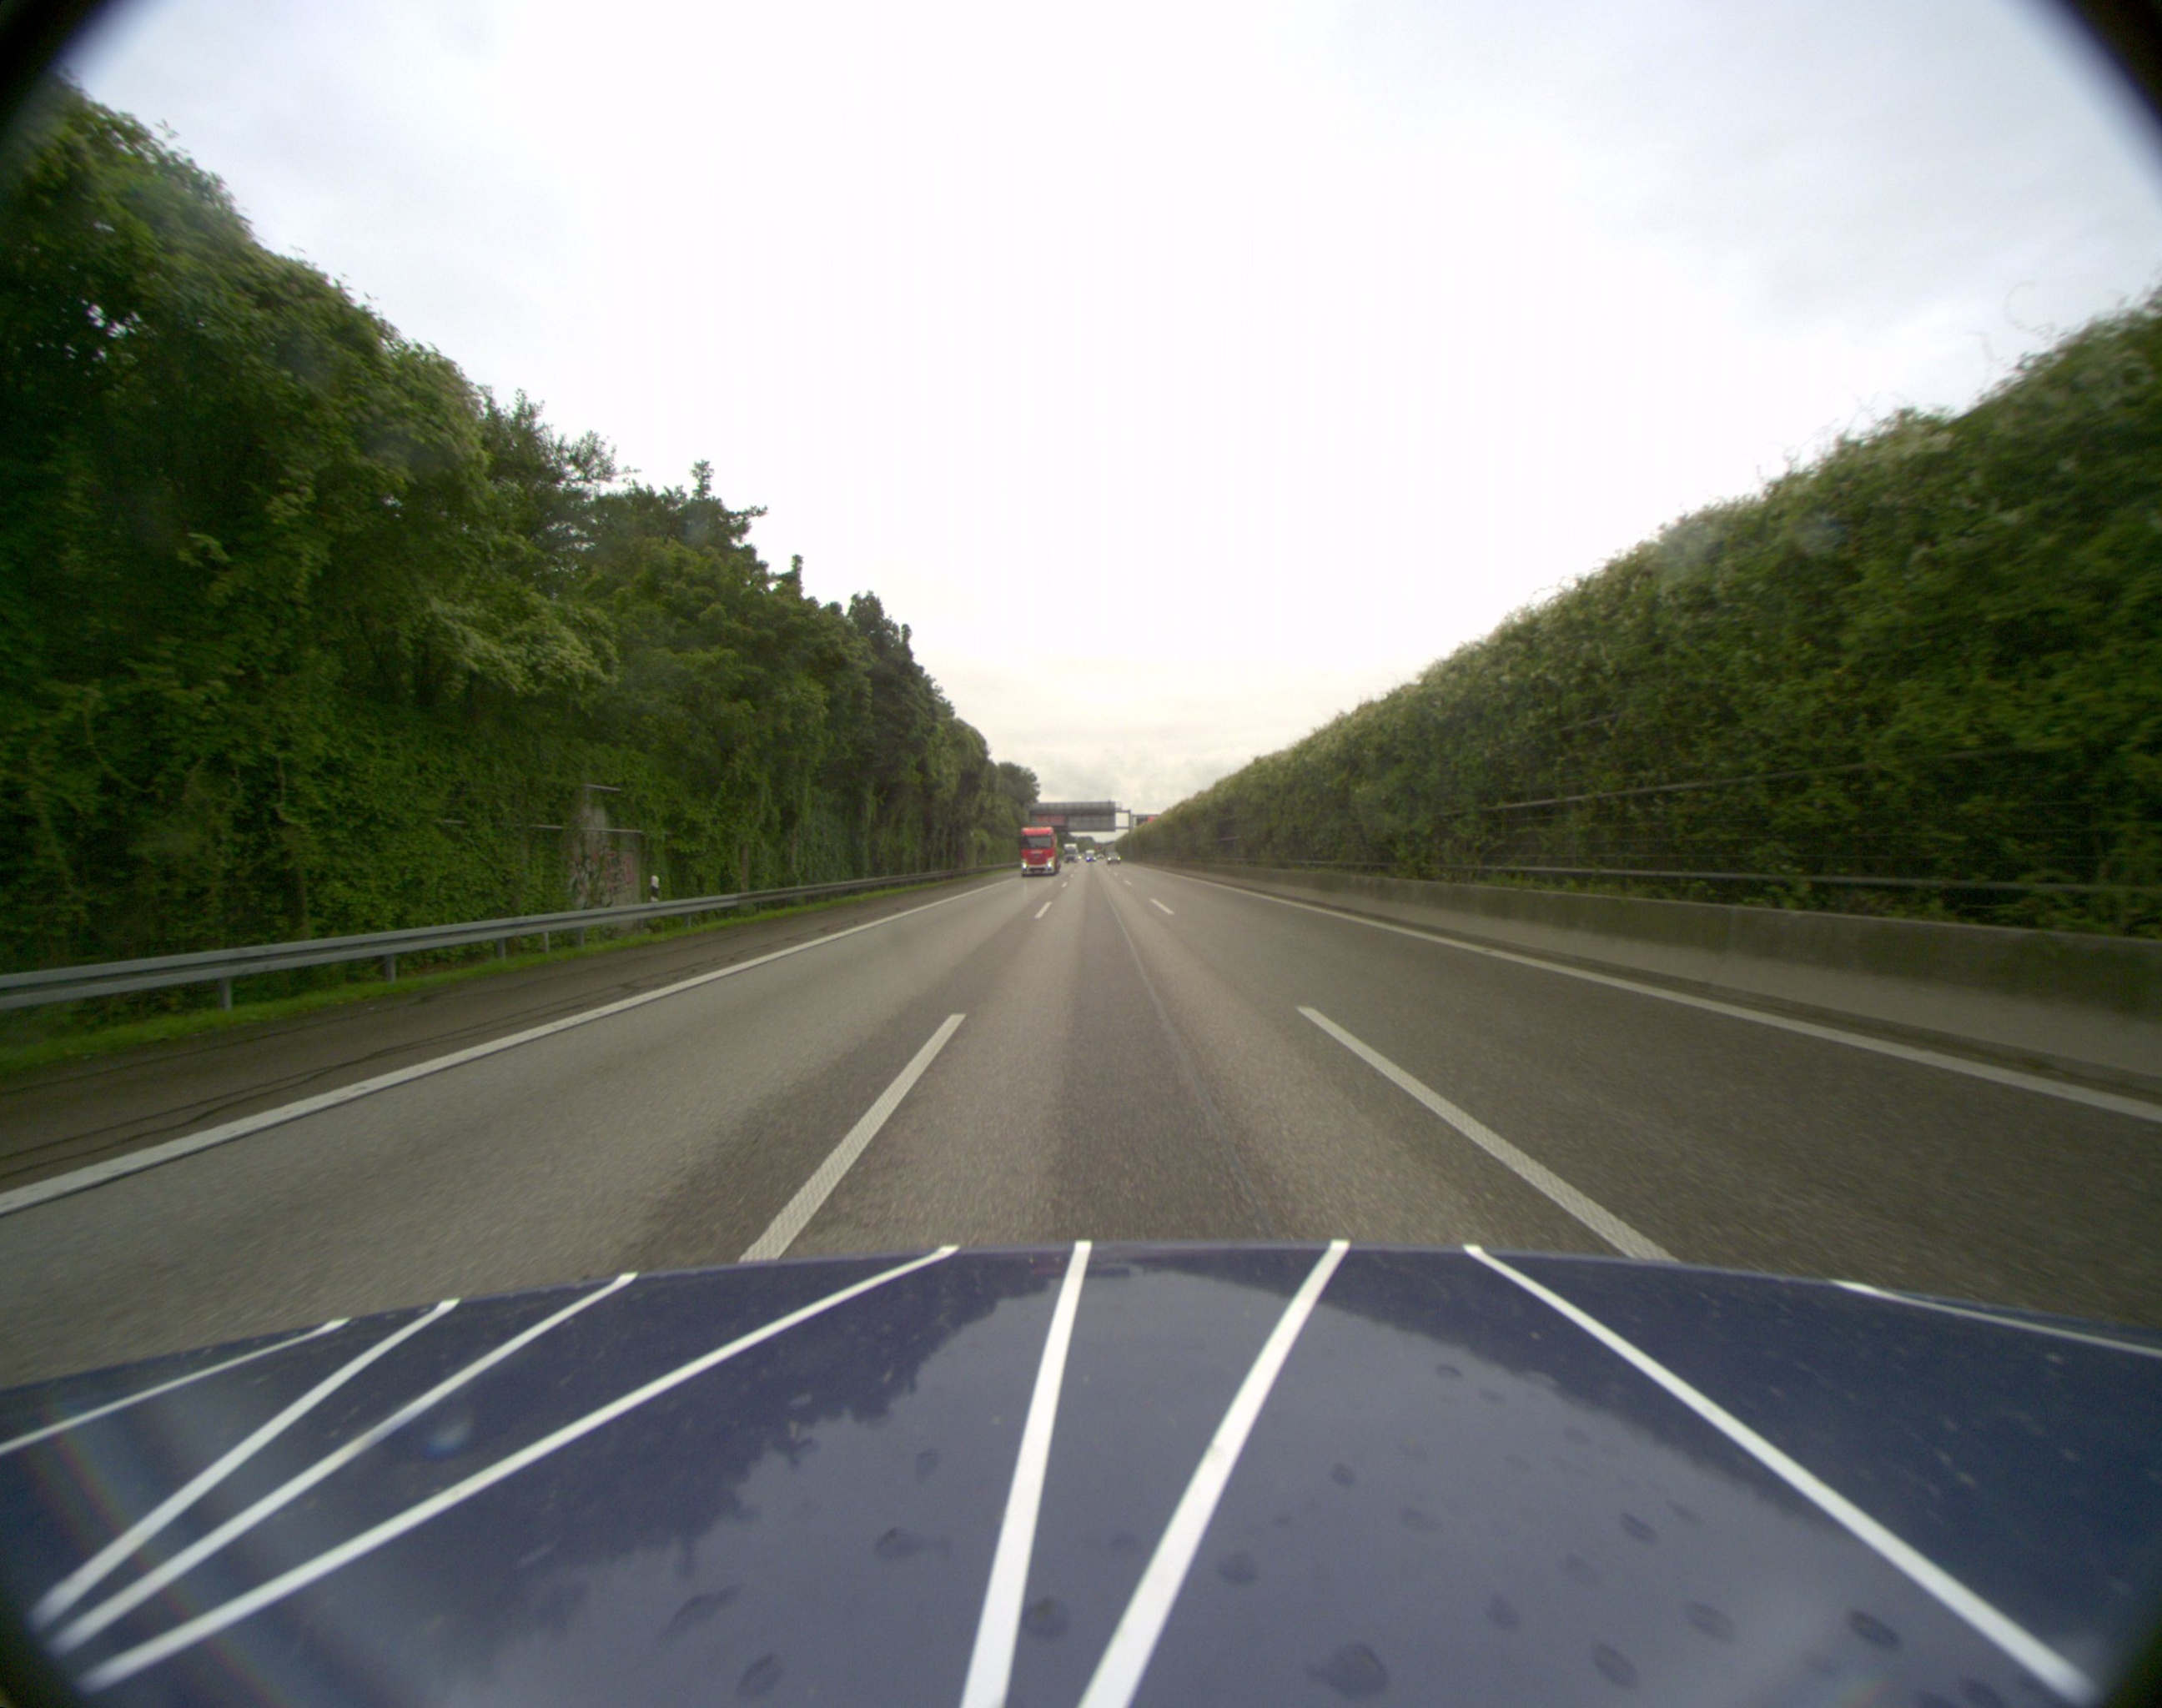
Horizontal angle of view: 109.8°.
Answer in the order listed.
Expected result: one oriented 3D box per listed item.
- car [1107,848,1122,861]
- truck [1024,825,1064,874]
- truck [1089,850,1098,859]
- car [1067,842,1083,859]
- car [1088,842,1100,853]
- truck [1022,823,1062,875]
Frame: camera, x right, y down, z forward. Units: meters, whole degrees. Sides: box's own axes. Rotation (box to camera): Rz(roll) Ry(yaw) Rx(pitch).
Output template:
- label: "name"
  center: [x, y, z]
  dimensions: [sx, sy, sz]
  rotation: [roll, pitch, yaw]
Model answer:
- label: "car"
  center: [4.877, 0.040, 111.437]
  dimensions: [2.023, 1.595, 5.438]
  rotation: [-4, 1, 1]
- label: "truck"
  center: [-2.926, -0.508, 63.420]
  dimensions: [2.709, 3.691, 9.838]
  rotation: [-2, 2, 0]
- label: "truck"
  center: [2.546, 0.095, 153.512]
  dimensions: [1.825, 1.535, 3.999]
  rotation: [-3, 2, 1]
- label: "car"
  center: [-1.201, -0.752, 154.830]
  dimensions: [3.039, 3.278, 6.733]
  rotation: [-2, 1, 1]
- label: "car"
  center: [3.033, -1.523, 176.946]
  dimensions: [2.769, 2.227, 6.546]
  rotation: [-2, 1, 1]
- label: "truck"
  center: [-2.939, -0.449, 58.599]
  dimensions: [2.709, 3.809, 4.197]
  rotation: [-2, 2, 0]
